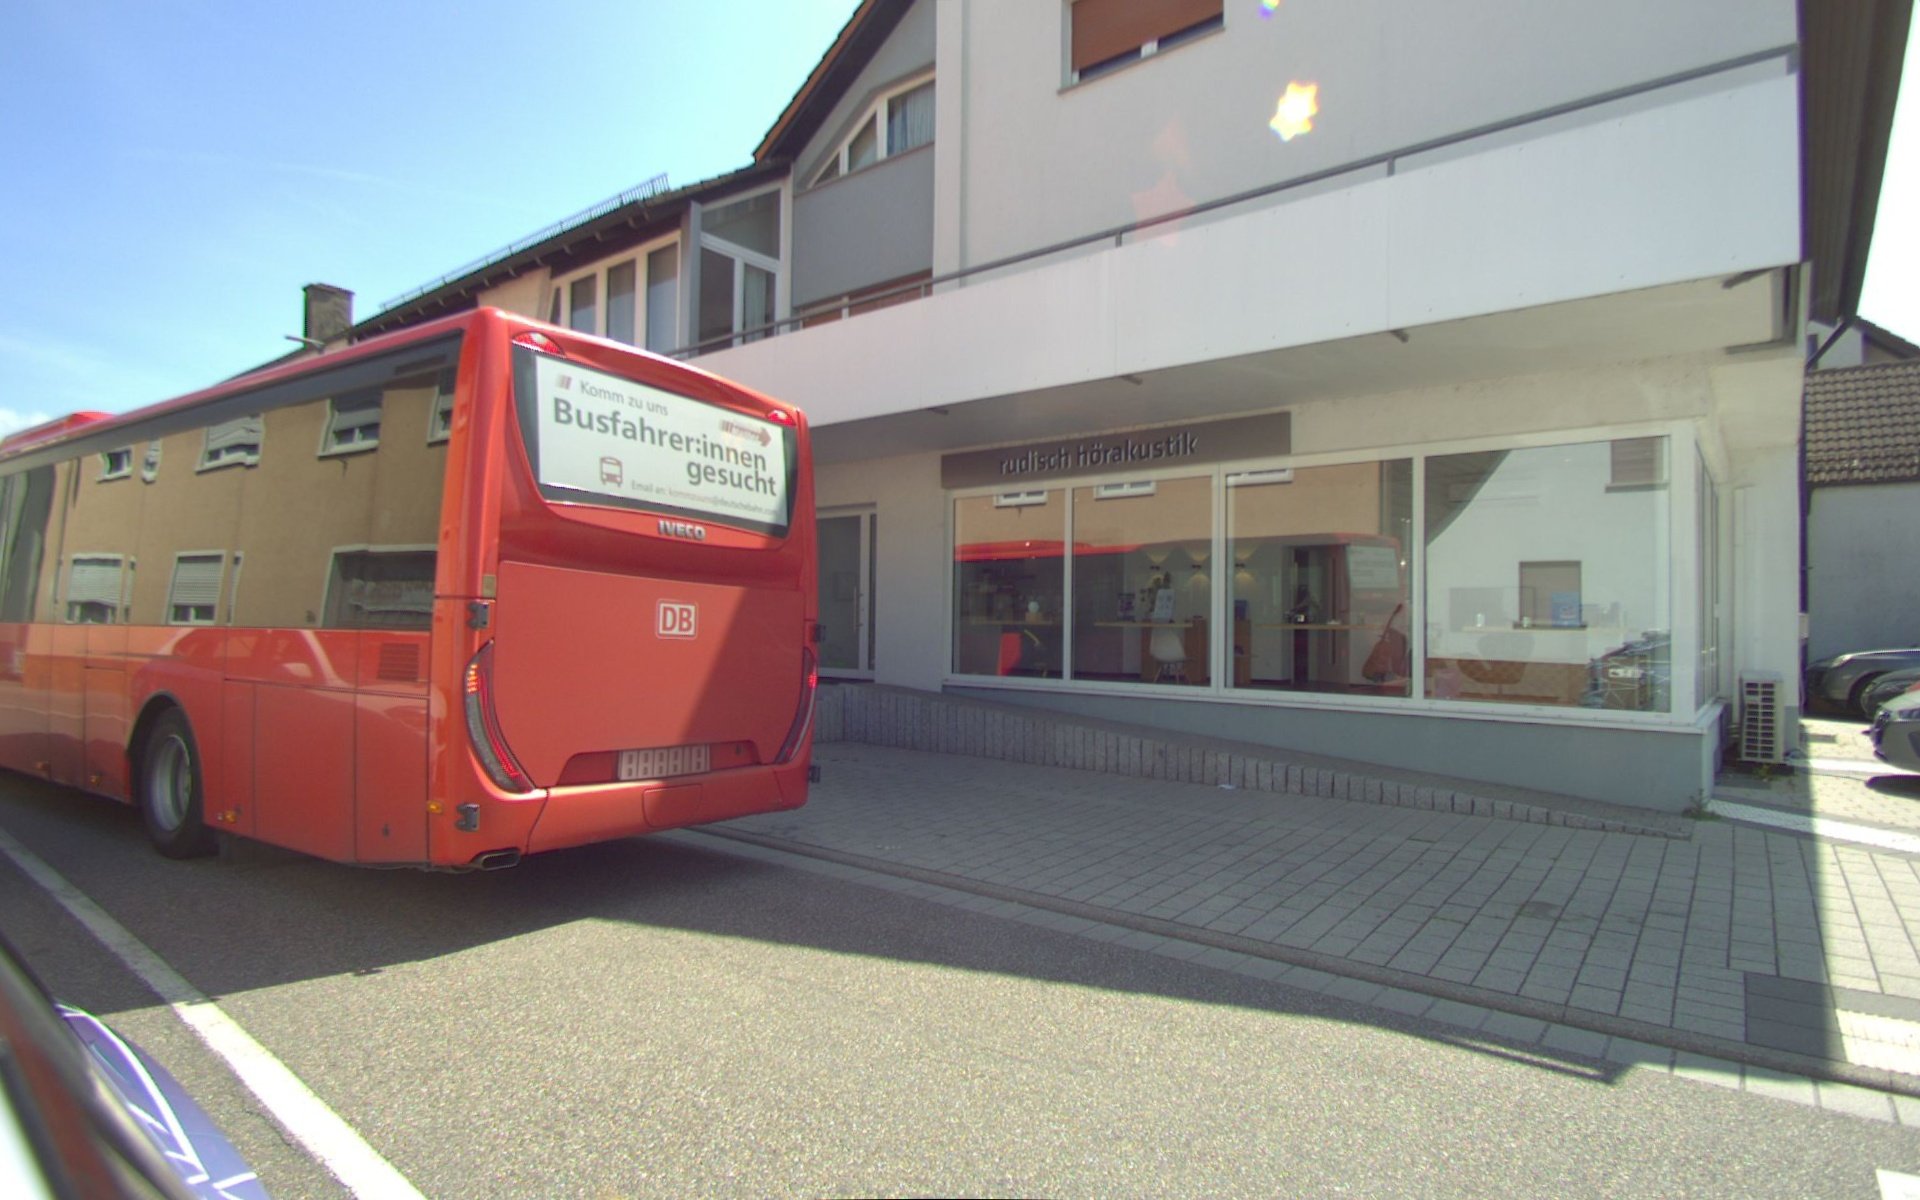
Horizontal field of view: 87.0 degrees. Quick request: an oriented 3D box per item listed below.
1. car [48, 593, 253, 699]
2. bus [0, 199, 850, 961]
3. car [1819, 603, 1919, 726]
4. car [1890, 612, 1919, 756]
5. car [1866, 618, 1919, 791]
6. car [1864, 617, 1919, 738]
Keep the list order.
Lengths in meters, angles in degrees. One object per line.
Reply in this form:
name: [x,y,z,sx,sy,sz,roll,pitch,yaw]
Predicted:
car: [-13.623,0.693,16.968,3.993,1.527,1.728,0,2,37]
bus: [-6.416,0.004,8.794,11.992,3.257,2.604,-1,-4,34]
car: [15.391,0.940,14.374,4.743,1.752,1.962,0,-1,38]
car: [12.000,0.892,10.010,3.958,1.488,1.730,0,-1,38]
car: [10.262,0.903,8.003,4.473,1.461,1.812,0,-1,38]
car: [13.632,0.962,11.794,4.473,1.461,1.812,0,-1,38]
